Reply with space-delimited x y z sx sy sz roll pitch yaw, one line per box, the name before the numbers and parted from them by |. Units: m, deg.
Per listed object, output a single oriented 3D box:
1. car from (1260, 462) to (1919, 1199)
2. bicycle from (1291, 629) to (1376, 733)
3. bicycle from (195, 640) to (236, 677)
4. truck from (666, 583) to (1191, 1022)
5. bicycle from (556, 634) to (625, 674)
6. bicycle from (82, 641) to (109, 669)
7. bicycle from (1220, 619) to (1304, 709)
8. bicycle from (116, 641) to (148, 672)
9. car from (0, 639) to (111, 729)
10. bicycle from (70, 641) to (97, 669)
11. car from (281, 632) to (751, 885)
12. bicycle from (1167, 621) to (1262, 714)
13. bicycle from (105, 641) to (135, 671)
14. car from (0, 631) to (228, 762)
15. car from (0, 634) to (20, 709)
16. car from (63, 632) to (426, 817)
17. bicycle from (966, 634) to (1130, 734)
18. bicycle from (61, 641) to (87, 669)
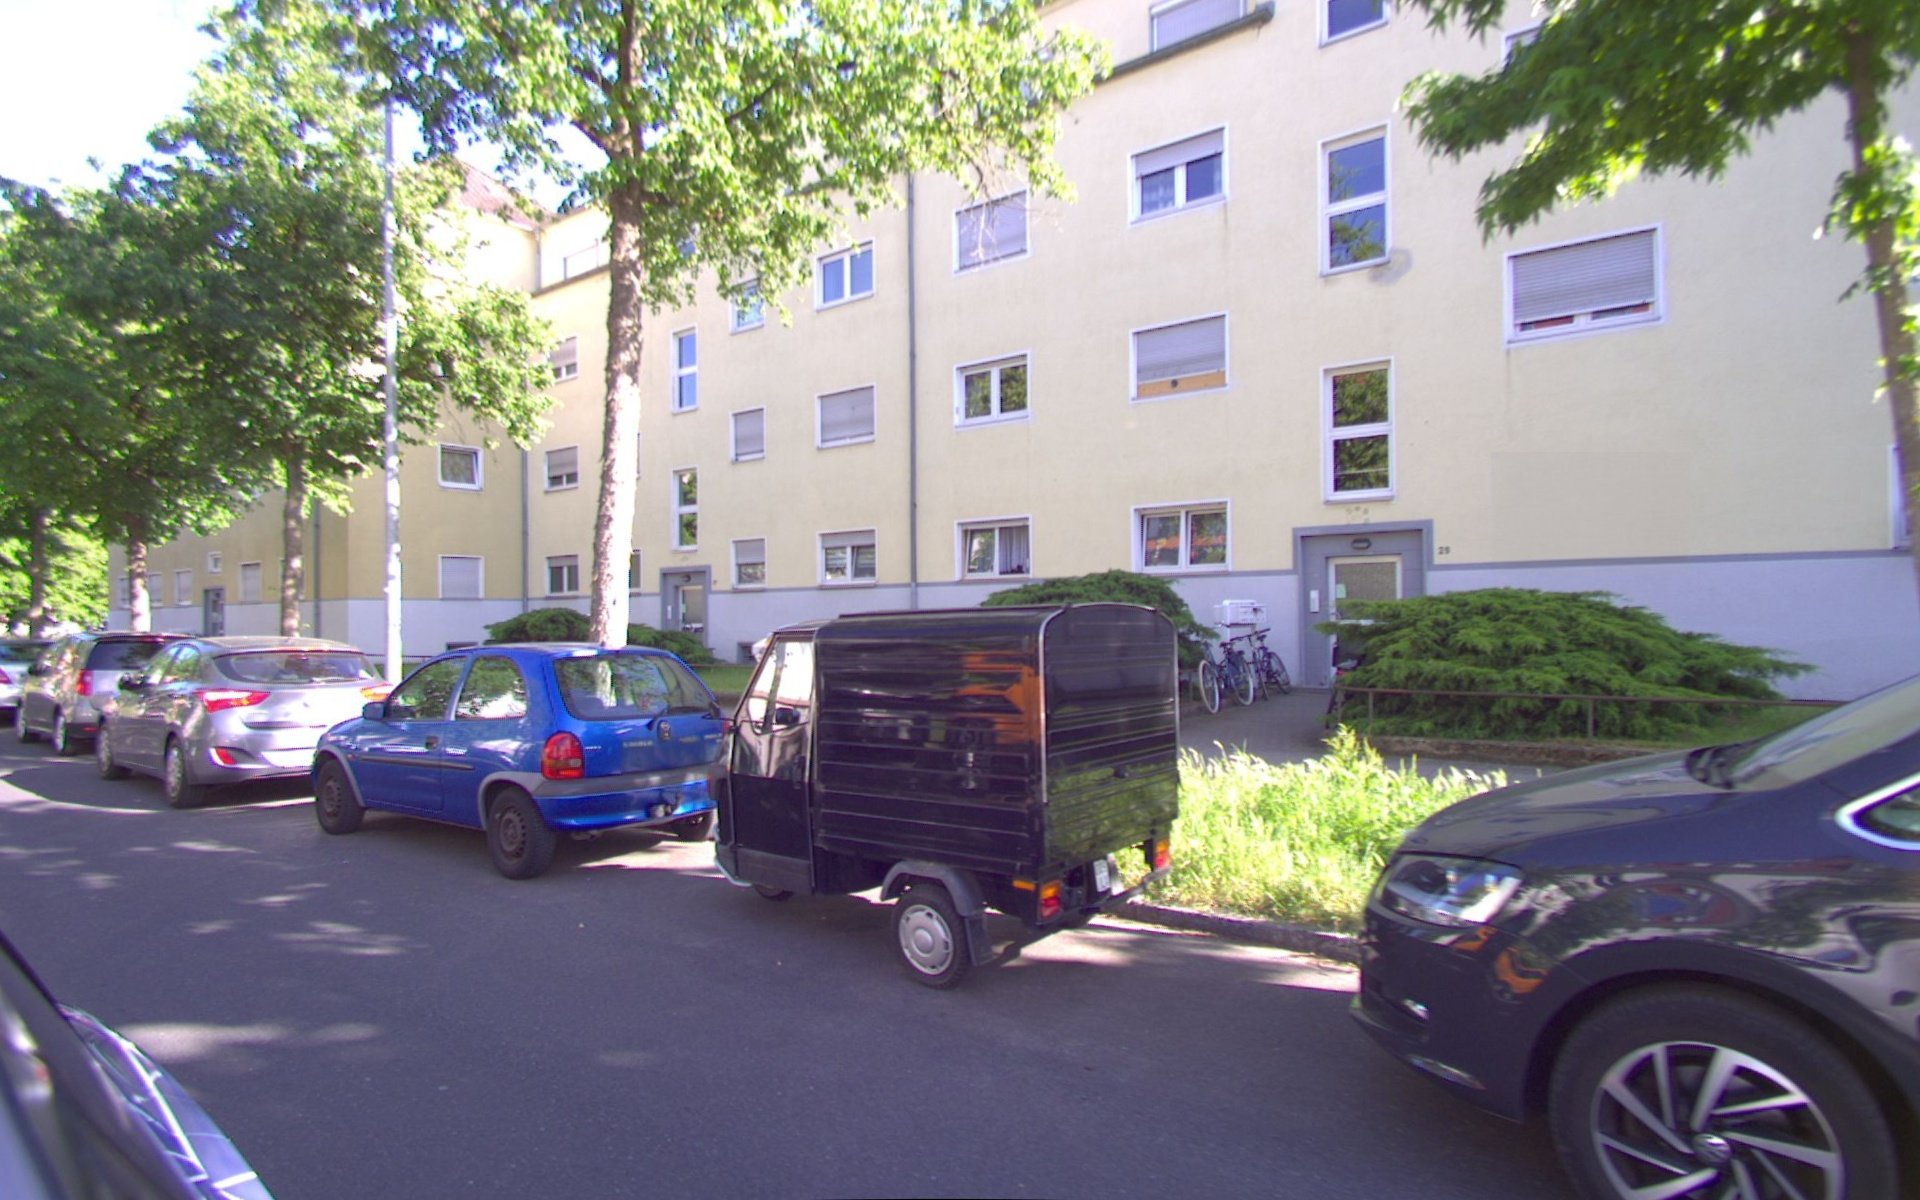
car | 3.335 0.595 1.967 4.968 1.693 1.832 -2 -4 37
bicycle | 4.325 0.891 11.645 0.485 1.089 1.824 -2 -2 34
bicycle | -21.795 1.694 29.617 1.746 1.034 0.530 -2 -2 39
truck | -0.253 0.773 4.883 2.429 1.589 1.073 -2 -2 40
bicycle | -9.003 1.297 24.729 0.480 0.938 1.618 -2 -2 34
bicycle | -31.343 1.994 36.698 1.542 1.008 0.449 -2 -2 38
bicycle | 4.414 0.890 14.715 0.486 1.154 1.821 0 1 40
bicycle | -27.919 1.905 34.114 1.542 1.008 0.506 -2 -2 38
car | -16.346 1.364 17.393 4.667 1.379 1.729 -2 -3 38
bicycle | -32.677 2.051 37.719 1.542 1.008 0.470 -2 -2 38
car | -3.366 0.956 7.425 3.719 1.406 1.507 -2 -2 36
bicycle | 3.455 0.874 13.635 0.486 1.089 1.821 0 1 40
bicycle | -29.344 1.945 35.346 1.679 1.008 0.430 -2 -2 38
car | -11.657 1.219 13.768 4.263 1.527 1.604 -2 -4 38
car | -20.731 1.456 20.660 3.926 1.470 1.649 -2 -2 38
car | -7.336 1.076 10.190 4.683 1.455 1.774 -2 -3 39
bicycle | 1.025 0.960 11.703 1.827 1.089 0.484 -1 1 14
bicycle | -33.944 2.099 38.762 1.542 1.008 0.471 -2 -2 38
